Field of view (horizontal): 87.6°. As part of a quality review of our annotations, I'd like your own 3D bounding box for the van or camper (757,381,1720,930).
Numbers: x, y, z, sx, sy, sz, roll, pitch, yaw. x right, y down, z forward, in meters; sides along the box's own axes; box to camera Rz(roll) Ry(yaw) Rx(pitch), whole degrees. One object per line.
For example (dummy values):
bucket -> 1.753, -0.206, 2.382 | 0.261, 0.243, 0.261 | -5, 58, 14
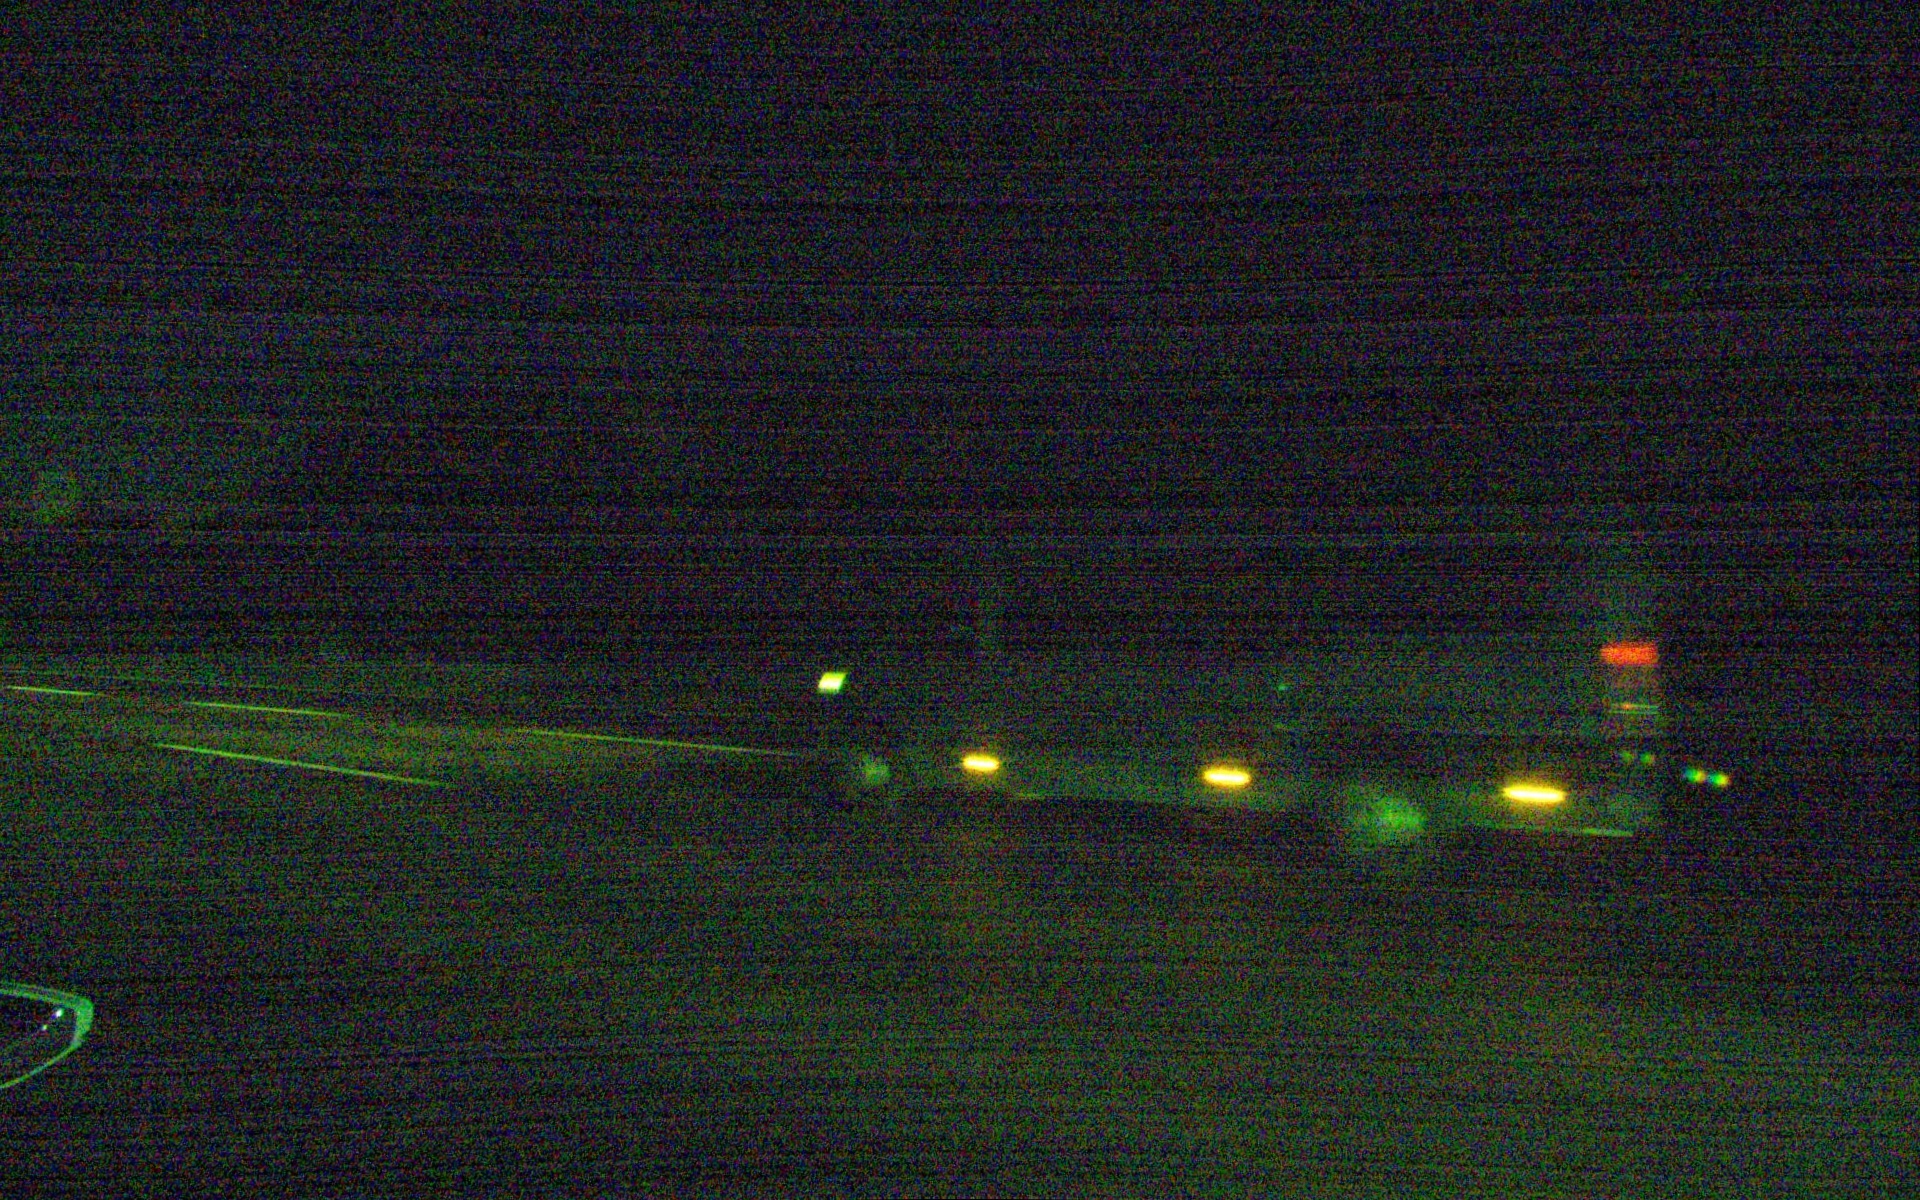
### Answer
van or camper -> 1.643, 0.348, 7.872 | 6.707, 2.807, 2.203 | -1, -2, 33
